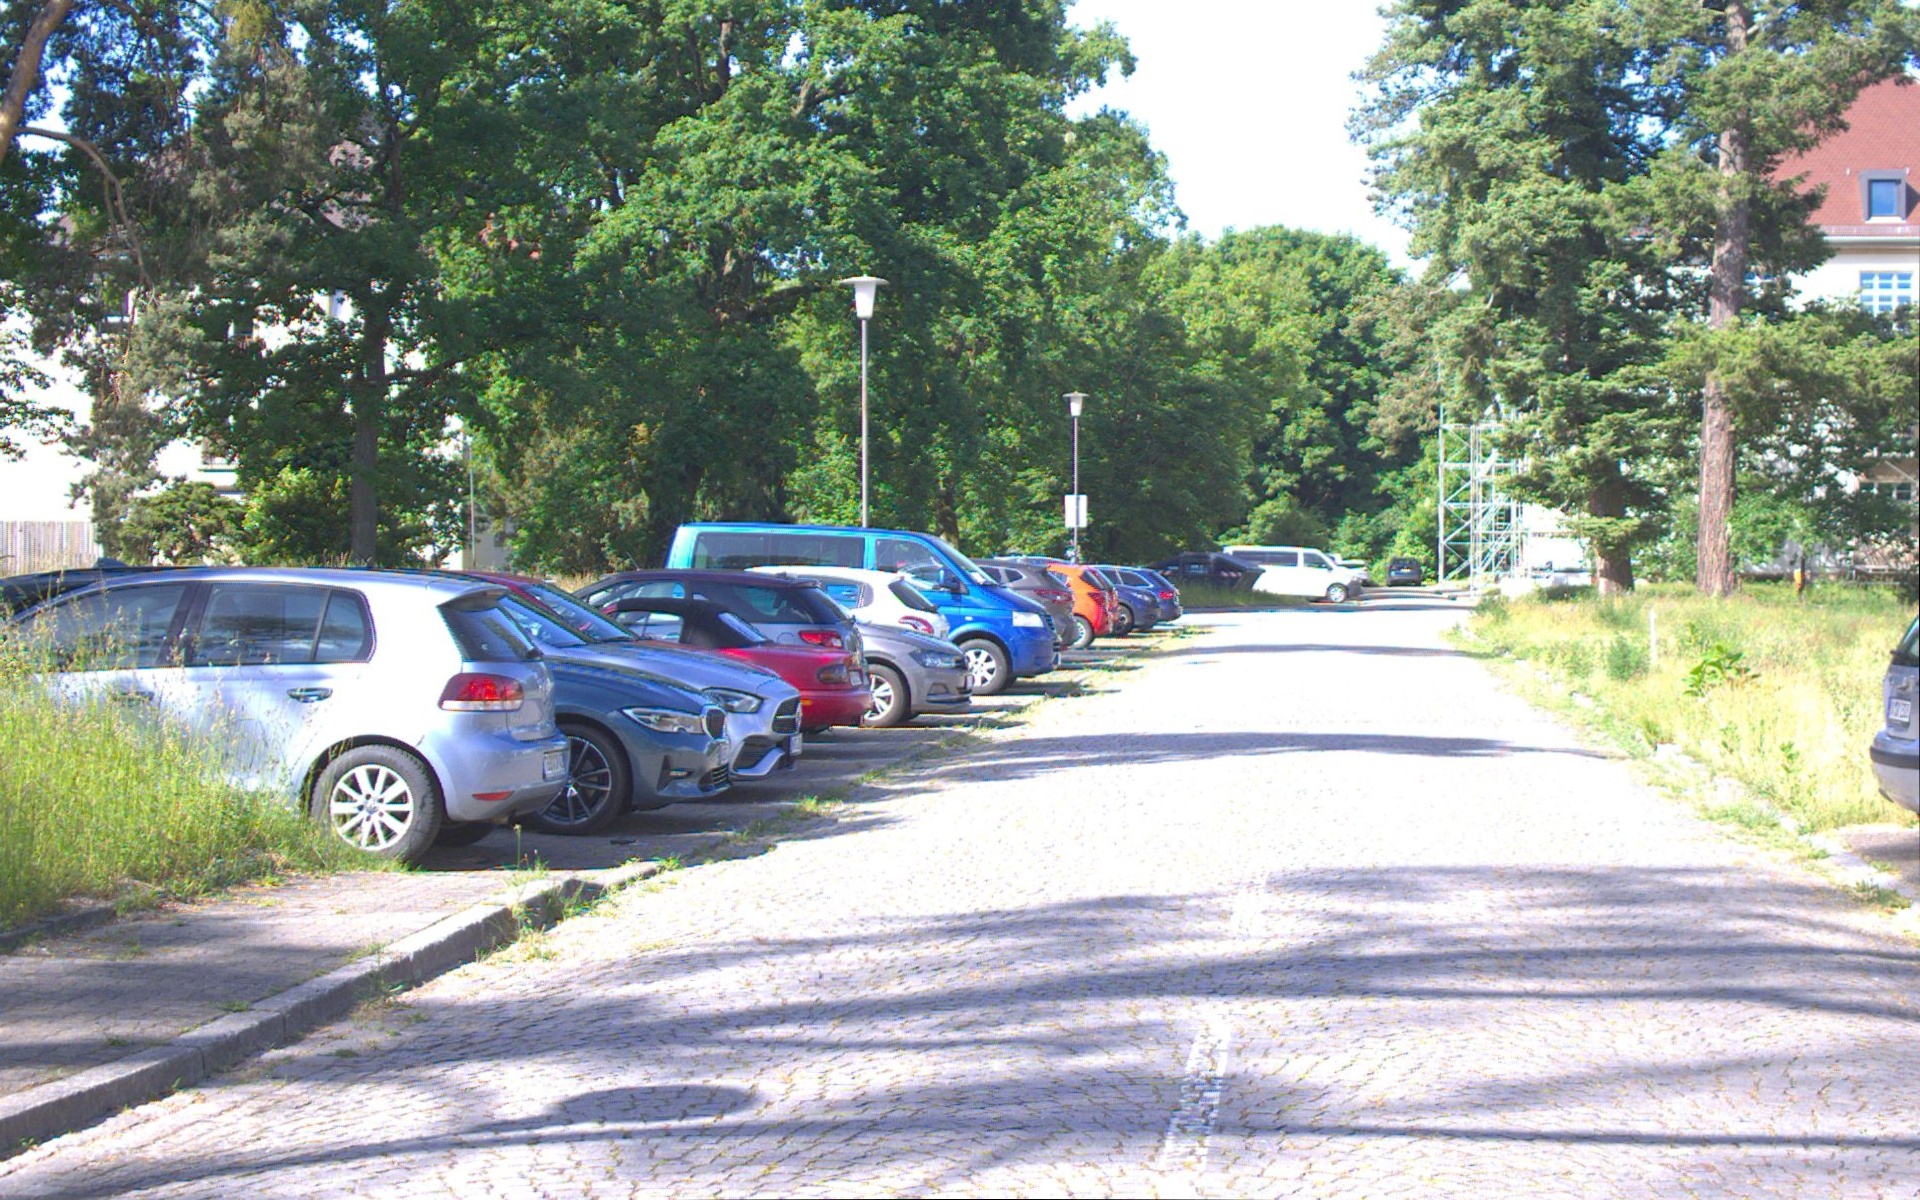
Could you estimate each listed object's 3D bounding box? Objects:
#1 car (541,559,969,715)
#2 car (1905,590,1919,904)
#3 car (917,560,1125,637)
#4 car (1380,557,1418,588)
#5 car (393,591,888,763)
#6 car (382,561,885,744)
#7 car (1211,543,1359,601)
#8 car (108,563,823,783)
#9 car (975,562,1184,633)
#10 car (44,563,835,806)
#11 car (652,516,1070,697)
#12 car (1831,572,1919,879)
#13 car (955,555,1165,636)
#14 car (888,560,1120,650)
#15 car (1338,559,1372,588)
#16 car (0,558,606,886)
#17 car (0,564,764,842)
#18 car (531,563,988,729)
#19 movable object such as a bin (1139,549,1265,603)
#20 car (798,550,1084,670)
[{"bbox_3d":[-2.107,0.365,36.057,4.197,1.470,1.823,2,1,6],"label":"car"},{"bbox_3d":[6.280,0.601,14.676,4.005,1.436,1.844,-3,1,5],"label":"car"},{"bbox_3d":[1.231,-0.052,68.323,3.924,1.428,1.841,1,1,8],"label":"car"},{"bbox_3d":[24.082,-1.518,188.710,1.971,1.662,4.085,0,1,6],"label":"car"},{"bbox_3d":[-2.524,0.596,27.614,3.631,1.230,1.759,2,0,8],"label":"car"},{"bbox_3d":[-2.838,0.444,30.337,4.078,1.447,1.821,2,0,8],"label":"car"},{"bbox_3d":[11.659,-1.011,123.422,5.235,2.009,1.950,1,1,6],"label":"car"},{"bbox_3d":[-3.586,0.501,25.411,4.866,1.416,1.938,2,1,7],"label":"car"},{"bbox_3d":[2.632,-0.068,75.285,4.361,1.440,1.920,1,1,9],"label":"car"},{"bbox_3d":[-3.409,0.534,23.032,4.866,1.416,1.938,2,0,7],"label":"car"},{"bbox_3d":[-1.142,0.061,41.251,4.719,1.961,2.005,2,1,6],"label":"car"},{"bbox_3d":[6.496,0.528,17.412,3.741,1.471,1.752,-3,0,5],"label":"car"},{"bbox_3d":[2.072,-0.110,70.636,4.136,1.574,1.884,1,1,7],"label":"car"},{"bbox_3d":[0.805,0.075,60.438,3.924,1.456,1.842,1,1,5],"label":"car"},{"bbox_3d":[21.660,-1.463,188.694,1.812,1.574,4.134,0,1,6],"label":"car"},{"bbox_3d":[-4.011,0.567,17.727,4.027,1.478,1.949,1,1,5],"label":"car"},{"bbox_3d":[-3.567,0.566,20.313,4.581,1.447,1.984,1,0,3],"label":"car"},{"bbox_3d":[-1.885,0.414,33.130,4.078,1.420,1.922,2,1,8],"label":"car"},{"bbox_3d":[7.794,-0.771,110.695,3.570,1.739,2.022,0,1,25],"label":"movable object such as a bin"},{"bbox_3d":[-0.246,0.128,50.163,3.954,1.562,1.974,2,2,5],"label":"car"}]
